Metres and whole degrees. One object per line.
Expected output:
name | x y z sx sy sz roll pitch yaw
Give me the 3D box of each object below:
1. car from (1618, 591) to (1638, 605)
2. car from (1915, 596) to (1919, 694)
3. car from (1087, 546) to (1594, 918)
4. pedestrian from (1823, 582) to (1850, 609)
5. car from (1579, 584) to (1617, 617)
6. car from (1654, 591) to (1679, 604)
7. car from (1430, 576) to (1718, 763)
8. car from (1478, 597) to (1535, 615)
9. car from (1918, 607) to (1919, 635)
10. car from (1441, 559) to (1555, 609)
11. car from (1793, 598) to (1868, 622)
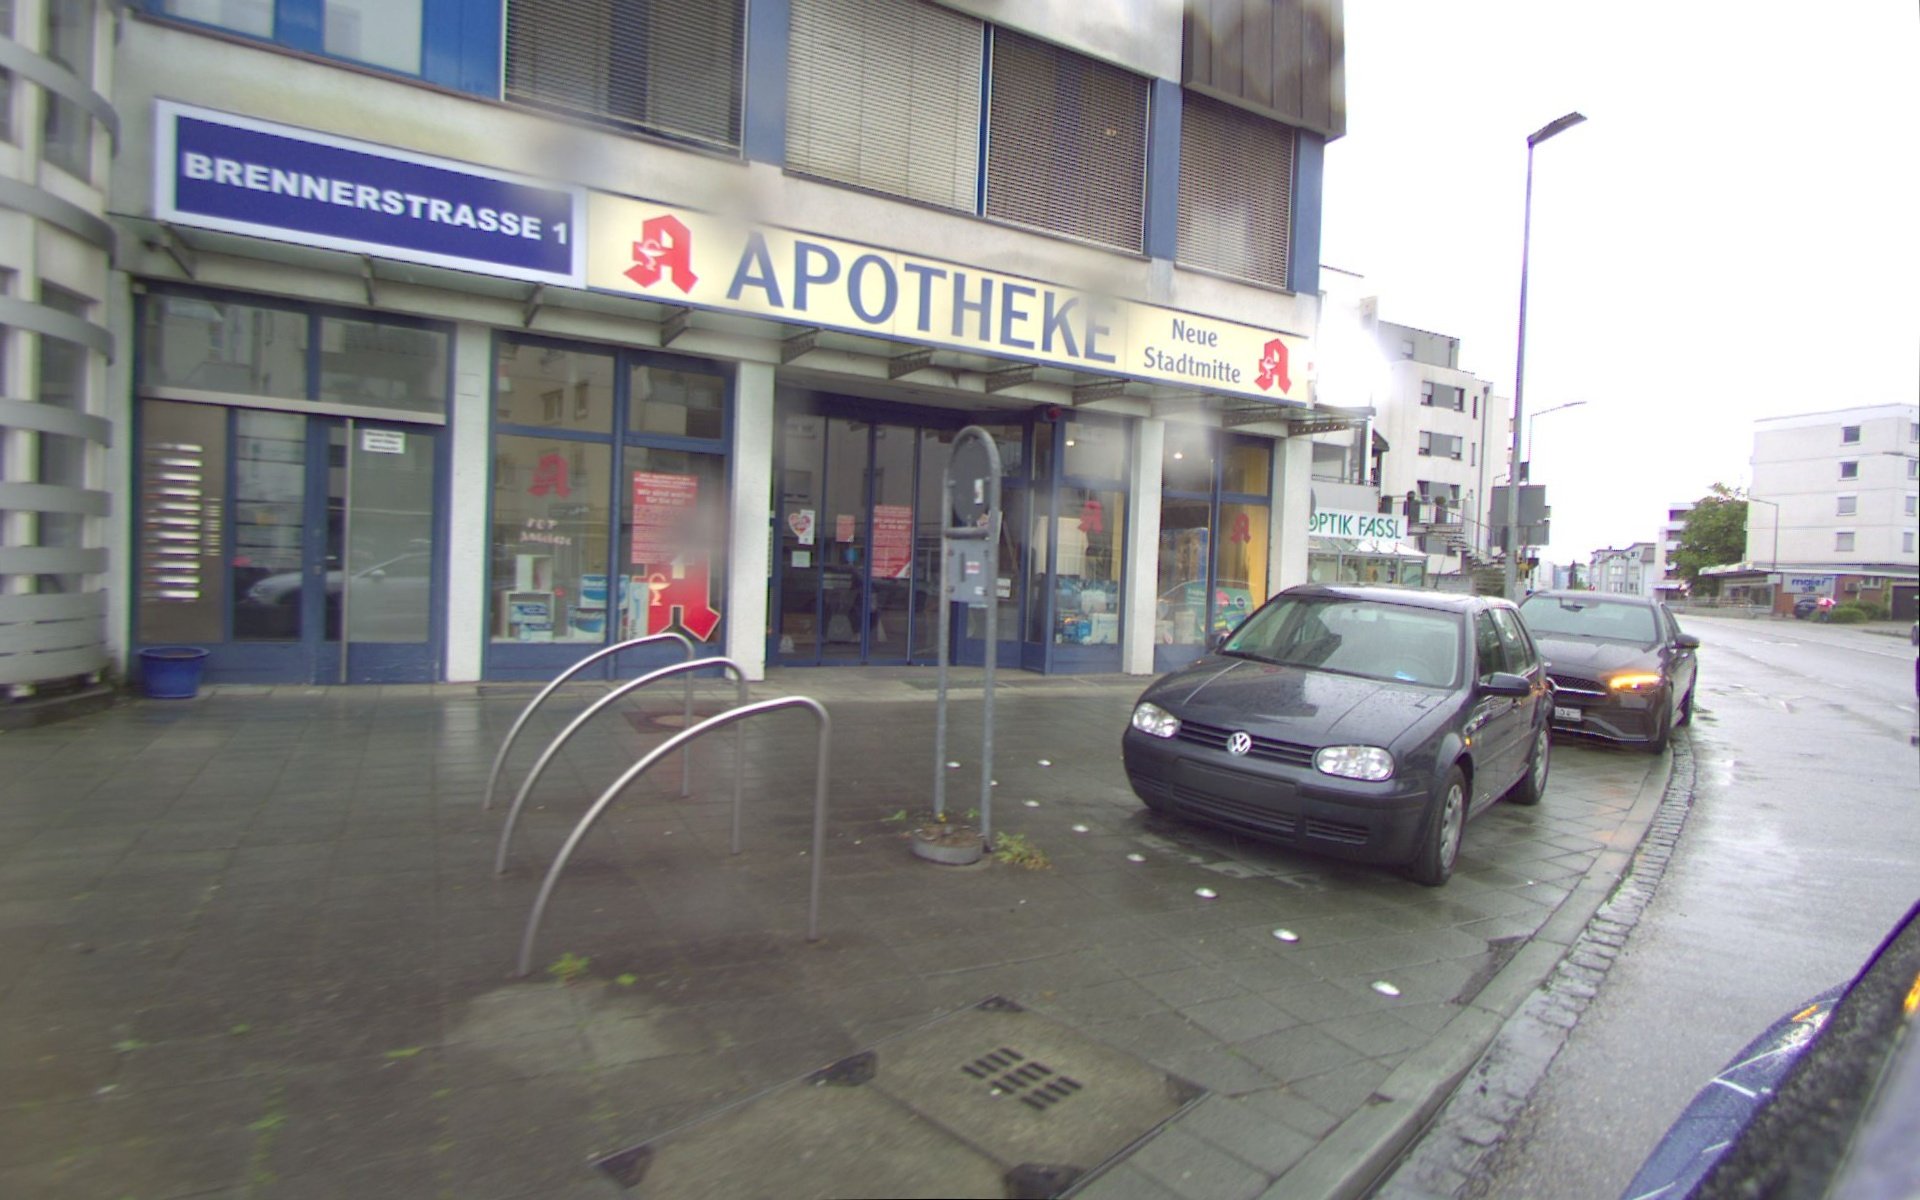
car | 78.668 -0.222 119.233 1.795 1.576 4.267 2 0 33
car | 14.096 0.667 13.089 1.818 1.458 4.291 1 0 34
car | 2.638 0.536 6.404 1.697 1.503 3.942 7 4 40
pedestrian | 53.465 -0.279 61.737 0.862 1.626 1.095 2 2 22
car | 42.189 0.037 66.961 1.985 2.039 3.953 2 0 32
car | 81.704 -0.282 117.015 1.687 1.426 3.962 5 2 27
car | 6.796 0.539 10.946 1.991 1.552 4.580 2 2 40
car | 50.681 0.510 93.855 1.836 1.513 4.274 3 0 -32
car | 33.071 0.529 33.037 1.818 1.457 3.796 5 2 32
car | 23.557 -0.701 44.307 4.681 2.038 2.004 1 1 -27
car | 61.791 0.701 71.857 4.376 1.565 2.005 1 2 -18
